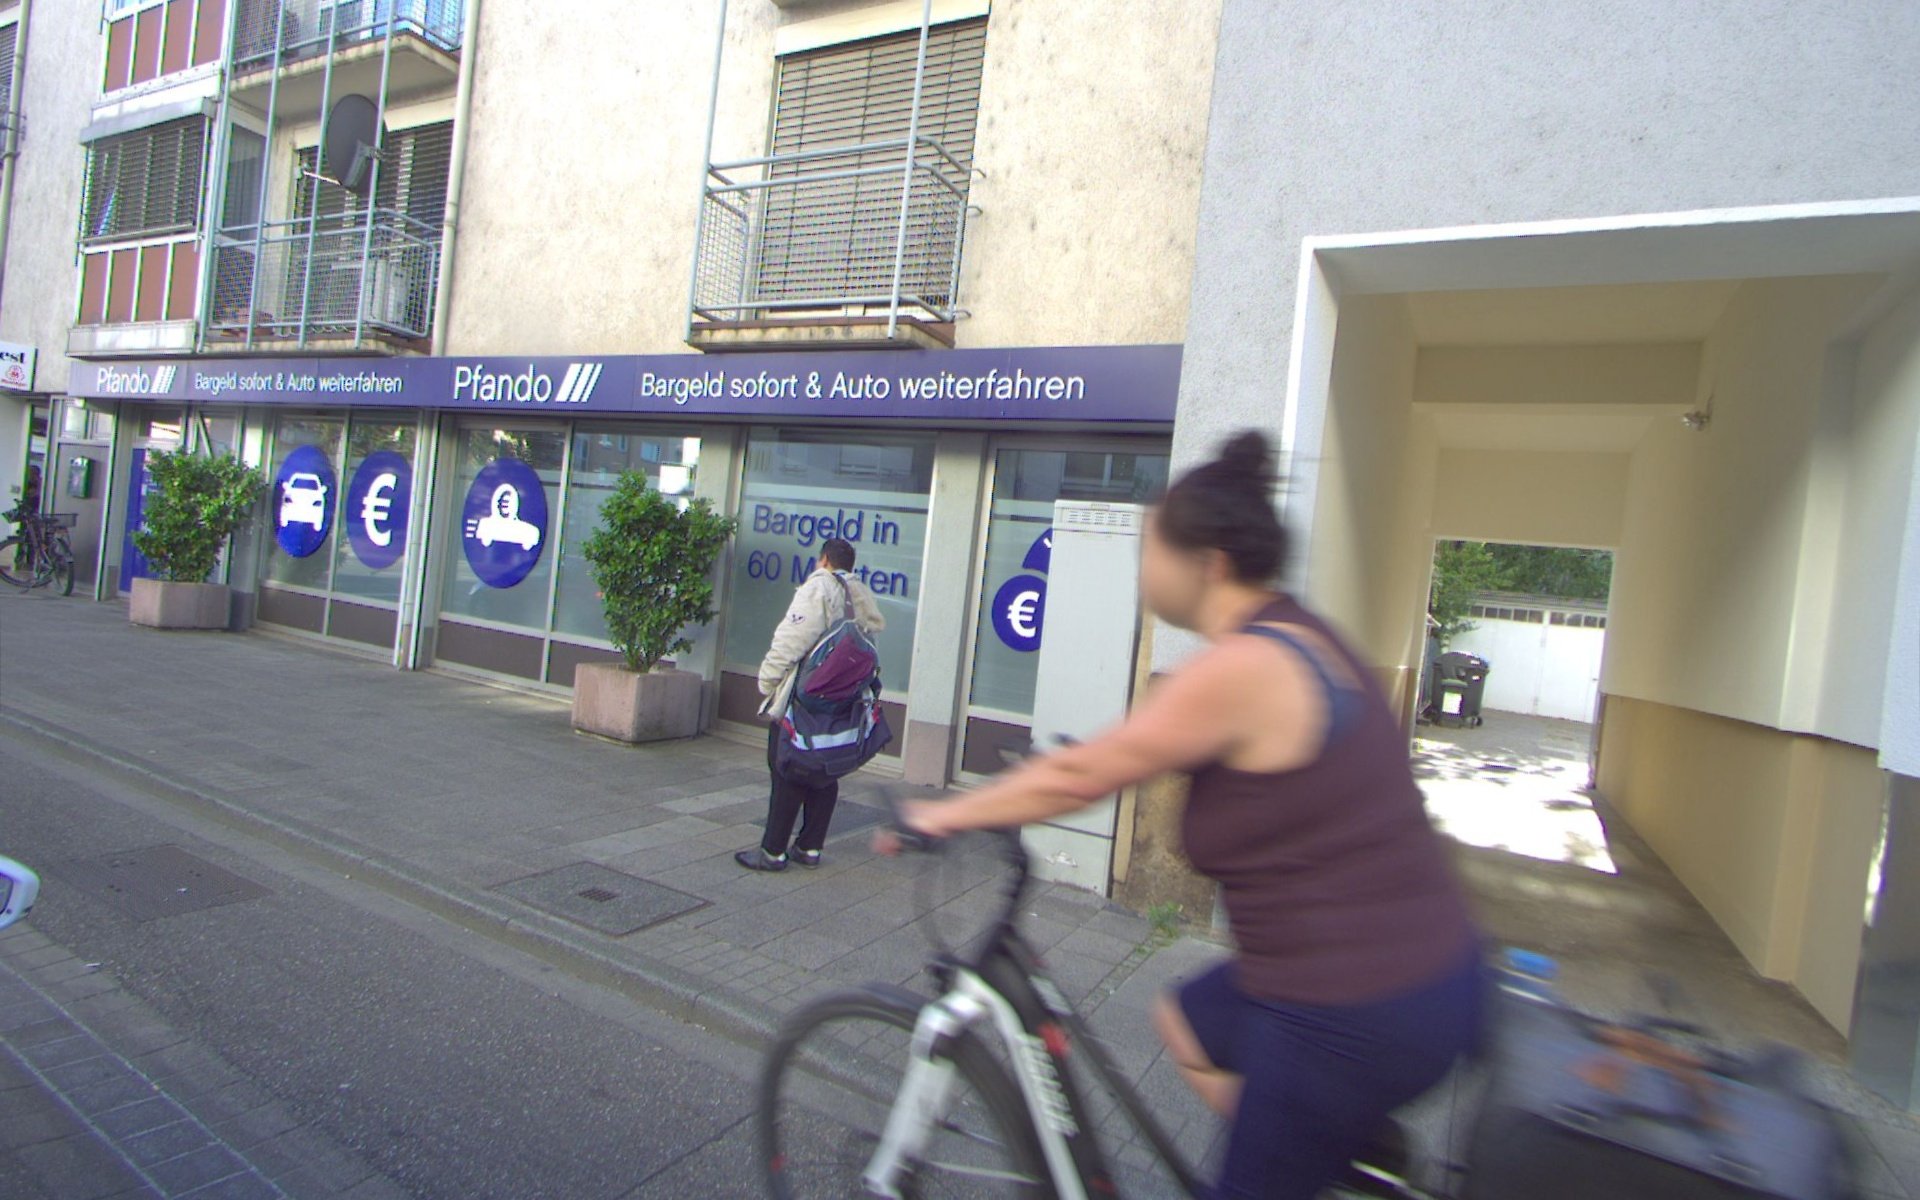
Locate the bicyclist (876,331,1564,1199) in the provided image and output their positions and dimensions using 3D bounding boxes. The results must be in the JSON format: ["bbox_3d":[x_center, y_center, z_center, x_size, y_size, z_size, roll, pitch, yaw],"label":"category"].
[{"bbox_3d":[0.399,0.510,1.587,0.748,1.650,0.617,7,1,34],"label":"bicyclist"}]

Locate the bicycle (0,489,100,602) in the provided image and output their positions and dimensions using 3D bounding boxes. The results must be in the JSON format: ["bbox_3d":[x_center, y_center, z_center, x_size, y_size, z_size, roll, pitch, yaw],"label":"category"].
[{"bbox_3d":[-11.845,-0.725,12.880,1.879,1.280,0.640,7,1,32],"label":"bicycle"}]

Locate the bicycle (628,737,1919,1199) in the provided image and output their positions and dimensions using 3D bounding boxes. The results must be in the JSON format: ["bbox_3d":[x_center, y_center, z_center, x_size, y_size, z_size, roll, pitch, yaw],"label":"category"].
[{"bbox_3d":[0.339,0.949,1.609,1.856,1.117,0.617,7,1,35],"label":"bicycle"}]

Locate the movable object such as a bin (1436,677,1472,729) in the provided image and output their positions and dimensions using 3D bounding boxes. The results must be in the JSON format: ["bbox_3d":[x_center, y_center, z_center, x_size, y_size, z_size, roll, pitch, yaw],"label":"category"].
[{"bbox_3d":[9.558,1.985,19.456,0.518,0.922,0.580,7,1,29],"label":"movable object such as a bin"}]

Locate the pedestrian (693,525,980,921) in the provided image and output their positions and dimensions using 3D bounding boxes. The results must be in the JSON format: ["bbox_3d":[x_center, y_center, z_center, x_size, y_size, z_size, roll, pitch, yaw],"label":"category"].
[{"bbox_3d":[-0.567,0.515,4.757,0.853,1.593,0.874,8,3,29],"label":"pedestrian"}]

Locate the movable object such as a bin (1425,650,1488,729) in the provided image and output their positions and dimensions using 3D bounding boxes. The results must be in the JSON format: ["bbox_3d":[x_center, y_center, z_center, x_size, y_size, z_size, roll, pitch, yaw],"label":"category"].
[{"bbox_3d":[10.110,1.792,20.459,0.945,1.426,1.598,7,1,29],"label":"movable object such as a bin"}]
